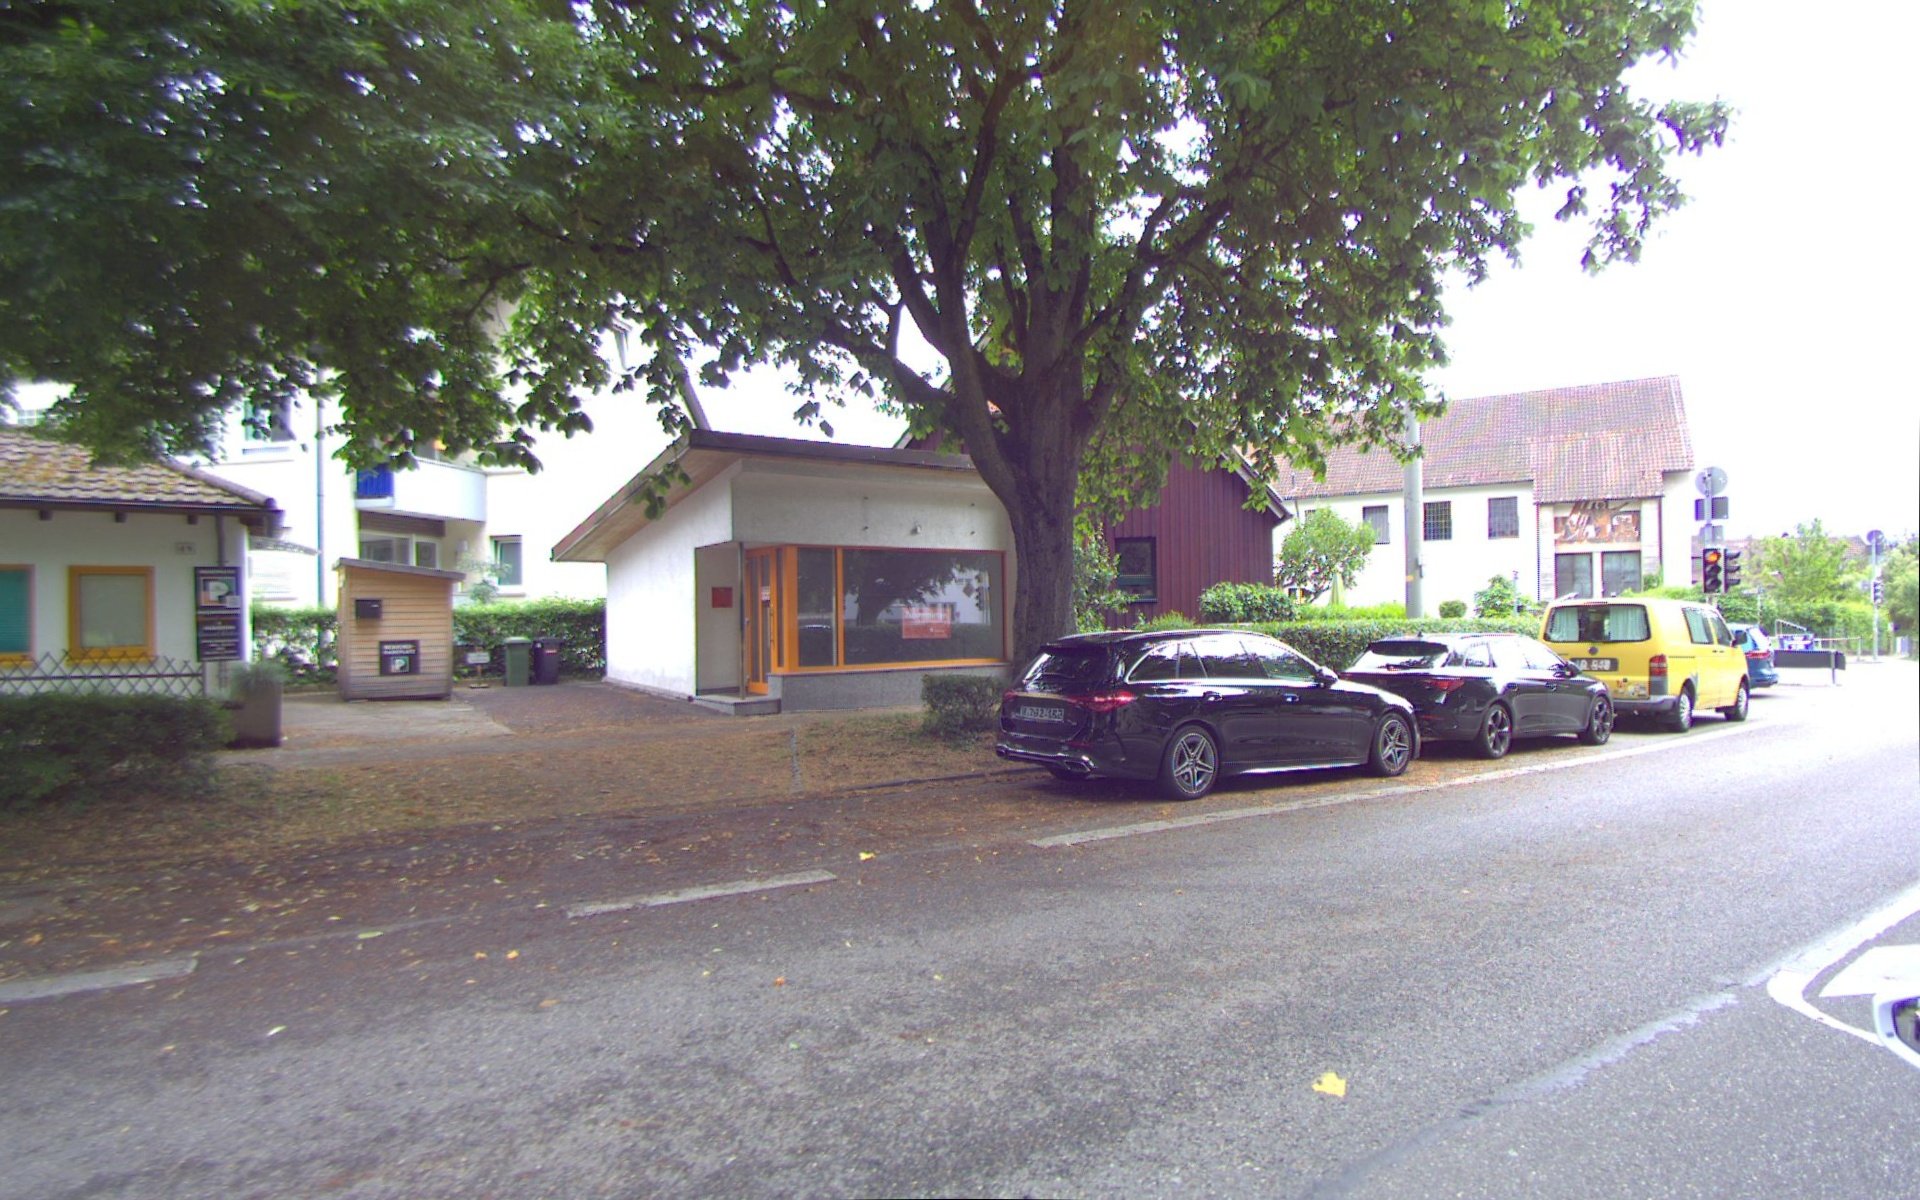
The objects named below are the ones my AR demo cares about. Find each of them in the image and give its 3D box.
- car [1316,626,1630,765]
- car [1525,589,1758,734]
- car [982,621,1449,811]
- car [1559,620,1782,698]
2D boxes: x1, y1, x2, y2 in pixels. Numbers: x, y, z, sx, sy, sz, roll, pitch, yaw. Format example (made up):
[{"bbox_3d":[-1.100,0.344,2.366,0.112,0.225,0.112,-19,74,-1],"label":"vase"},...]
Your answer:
[{"bbox_3d":[6.658,1.098,12.861,4.497,1.505,1.680,1,-2,-35],"label":"car"},{"bbox_3d":[11.153,0.934,16.317,4.526,2.040,1.869,1,-2,-39],"label":"car"},{"bbox_3d":[2.659,0.995,10.121,4.564,1.520,1.983,1,-2,-32],"label":"car"},{"bbox_3d":[16.304,1.342,23.158,3.946,1.632,1.807,-3,-3,44],"label":"car"}]
